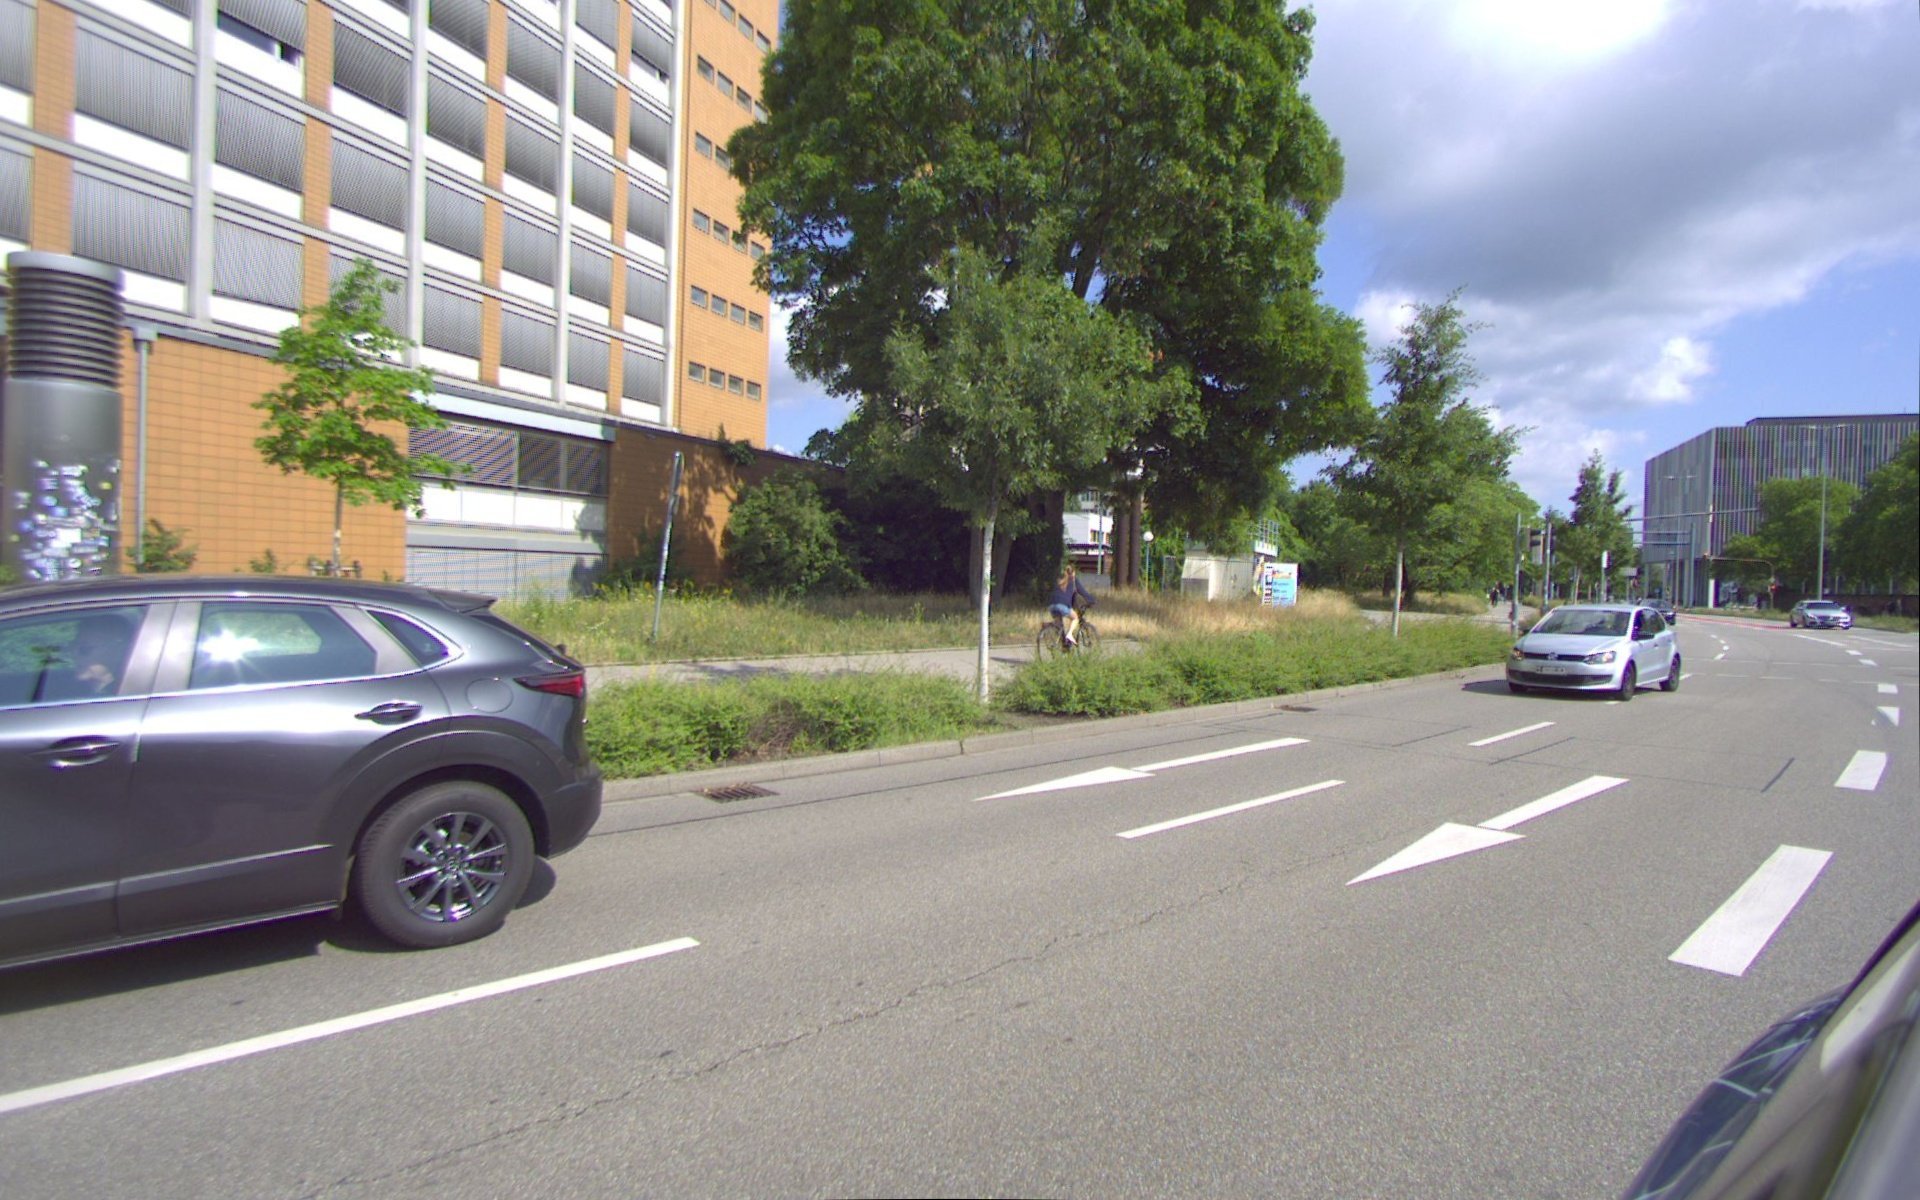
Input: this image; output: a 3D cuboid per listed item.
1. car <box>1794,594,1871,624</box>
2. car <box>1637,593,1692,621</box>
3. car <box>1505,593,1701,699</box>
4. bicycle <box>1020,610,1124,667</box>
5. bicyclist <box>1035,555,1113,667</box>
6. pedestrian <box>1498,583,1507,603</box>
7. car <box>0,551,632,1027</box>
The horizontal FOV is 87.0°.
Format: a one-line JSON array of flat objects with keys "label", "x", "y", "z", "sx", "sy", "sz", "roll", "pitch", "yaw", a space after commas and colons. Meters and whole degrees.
[{"label": "car", "x": 44.881, "y": 0.422, "z": 52.145, "sx": 2.044, "sy": 1.460, "sz": 4.732, "roll": 0, "pitch": 1, "yaw": 29}, {"label": "car", "x": 38.799, "y": 0.348, "z": 55.837, "sx": 1.983, "sy": 1.394, "sz": 4.118, "roll": 3, "pitch": 2, "yaw": 29}, {"label": "car", "x": 10.442, "y": 0.651, "z": 16.329, "sx": 3.936, "sy": 1.460, "sz": 1.654, "roll": 0, "pitch": 2, "yaw": -42}, {"label": "bicycle", "x": 1.820, "y": 0.602, "z": 16.297, "sx": 1.758, "sy": 0.820, "sz": 0.626, "roll": 0, "pitch": 3, "yaw": -42}, {"label": "bicyclist", "x": 1.837, "y": 0.160, "z": 16.299, "sx": 0.949, "sy": 1.723, "sz": 0.737, "roll": 0, "pitch": 3, "yaw": -42}, {"label": "pedestrian", "x": 43.701, "y": -0.569, "z": 81.499, "sx": 0.535, "sy": 1.628, "sz": 0.520, "roll": 2, "pitch": -1, "yaw": 21}, {"label": "car", "x": -3.645, "y": 0.592, "z": 3.947, "sx": 4.131, "sy": 1.527, "sz": 1.809, "roll": 0, "pitch": 0, "yaw": -41}]
